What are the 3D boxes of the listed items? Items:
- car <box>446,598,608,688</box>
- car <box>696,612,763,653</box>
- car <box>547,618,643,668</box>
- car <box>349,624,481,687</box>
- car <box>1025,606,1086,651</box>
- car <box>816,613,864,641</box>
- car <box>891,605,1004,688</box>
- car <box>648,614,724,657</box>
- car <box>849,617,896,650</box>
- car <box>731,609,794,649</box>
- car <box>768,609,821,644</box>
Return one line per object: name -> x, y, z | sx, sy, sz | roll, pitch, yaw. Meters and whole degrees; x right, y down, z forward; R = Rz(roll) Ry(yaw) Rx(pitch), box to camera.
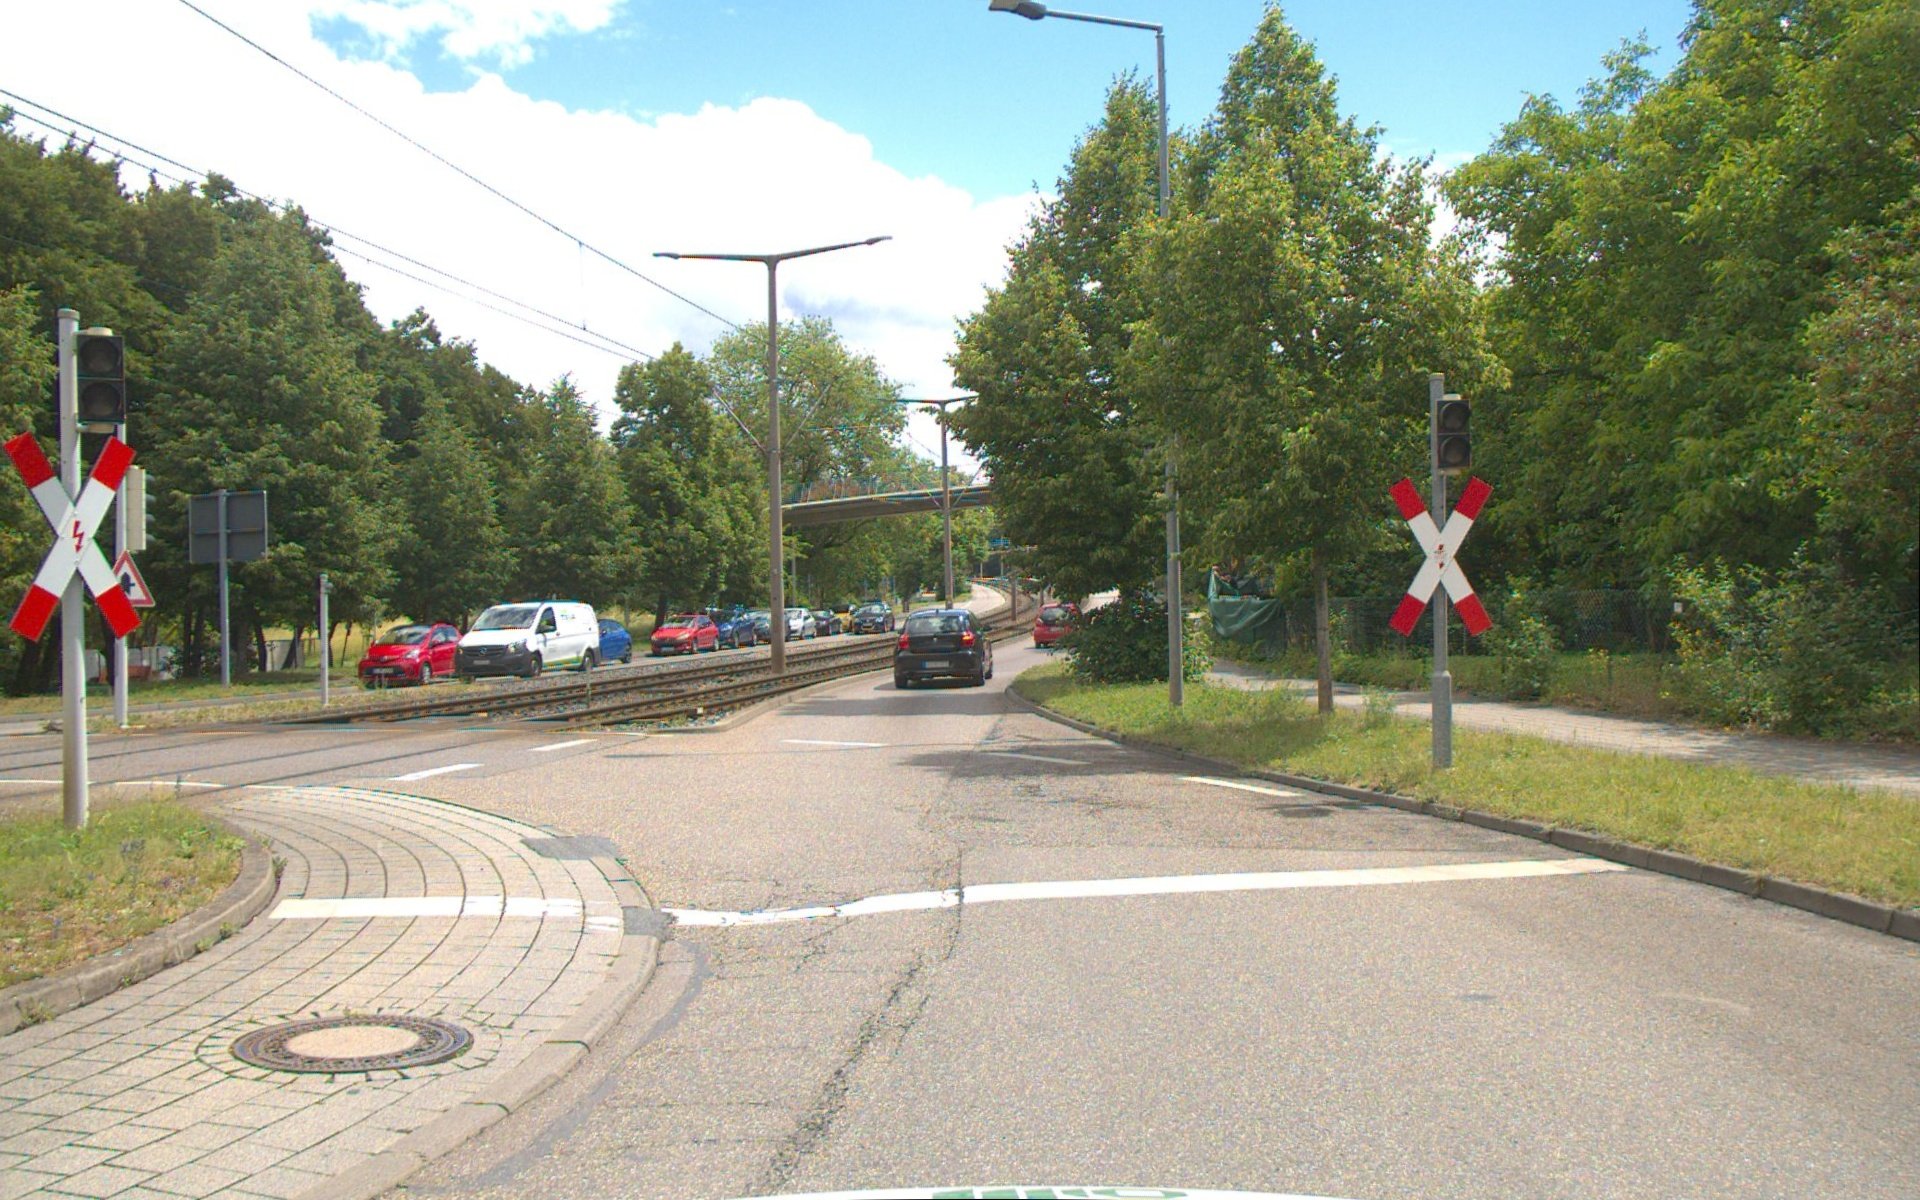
car -> -10.512, 1.052, 40.605 | 1.835, 2.054, 5.239 | 0, -2, 10
car -> -9.267, 1.324, 66.797 | 1.524, 1.624, 4.163 | 0, -2, 9
car -> -11.448, 1.361, 52.147 | 1.578, 1.487, 4.010 | 0, -2, 9
car -> -13.411, 1.360, 40.917 | 1.578, 1.477, 3.664 | 0, -2, 9
car -> 3.273, 0.965, 56.064 | 1.589, 1.469, 3.424 | 0, -1, 11
car -> -6.307, 1.443, 87.488 | 1.653, 1.476, 3.901 | 0, -2, 9
car -> -0.179, 0.856, 31.998 | 1.672, 1.486, 3.963 | 0, 0, 7
car -> -10.136, 1.326, 61.483 | 1.578, 1.520, 4.050 | 0, -2, 9
car -> -4.407, 1.702, 83.963 | 1.579, 1.602, 4.003 | 0, -1, 8
car -> -8.554, 1.236, 71.935 | 1.607, 1.651, 4.129 | -2, -1, 9
car -> -7.728, 1.257, 77.612 | 1.559, 1.520, 4.195 | 0, -2, 7
